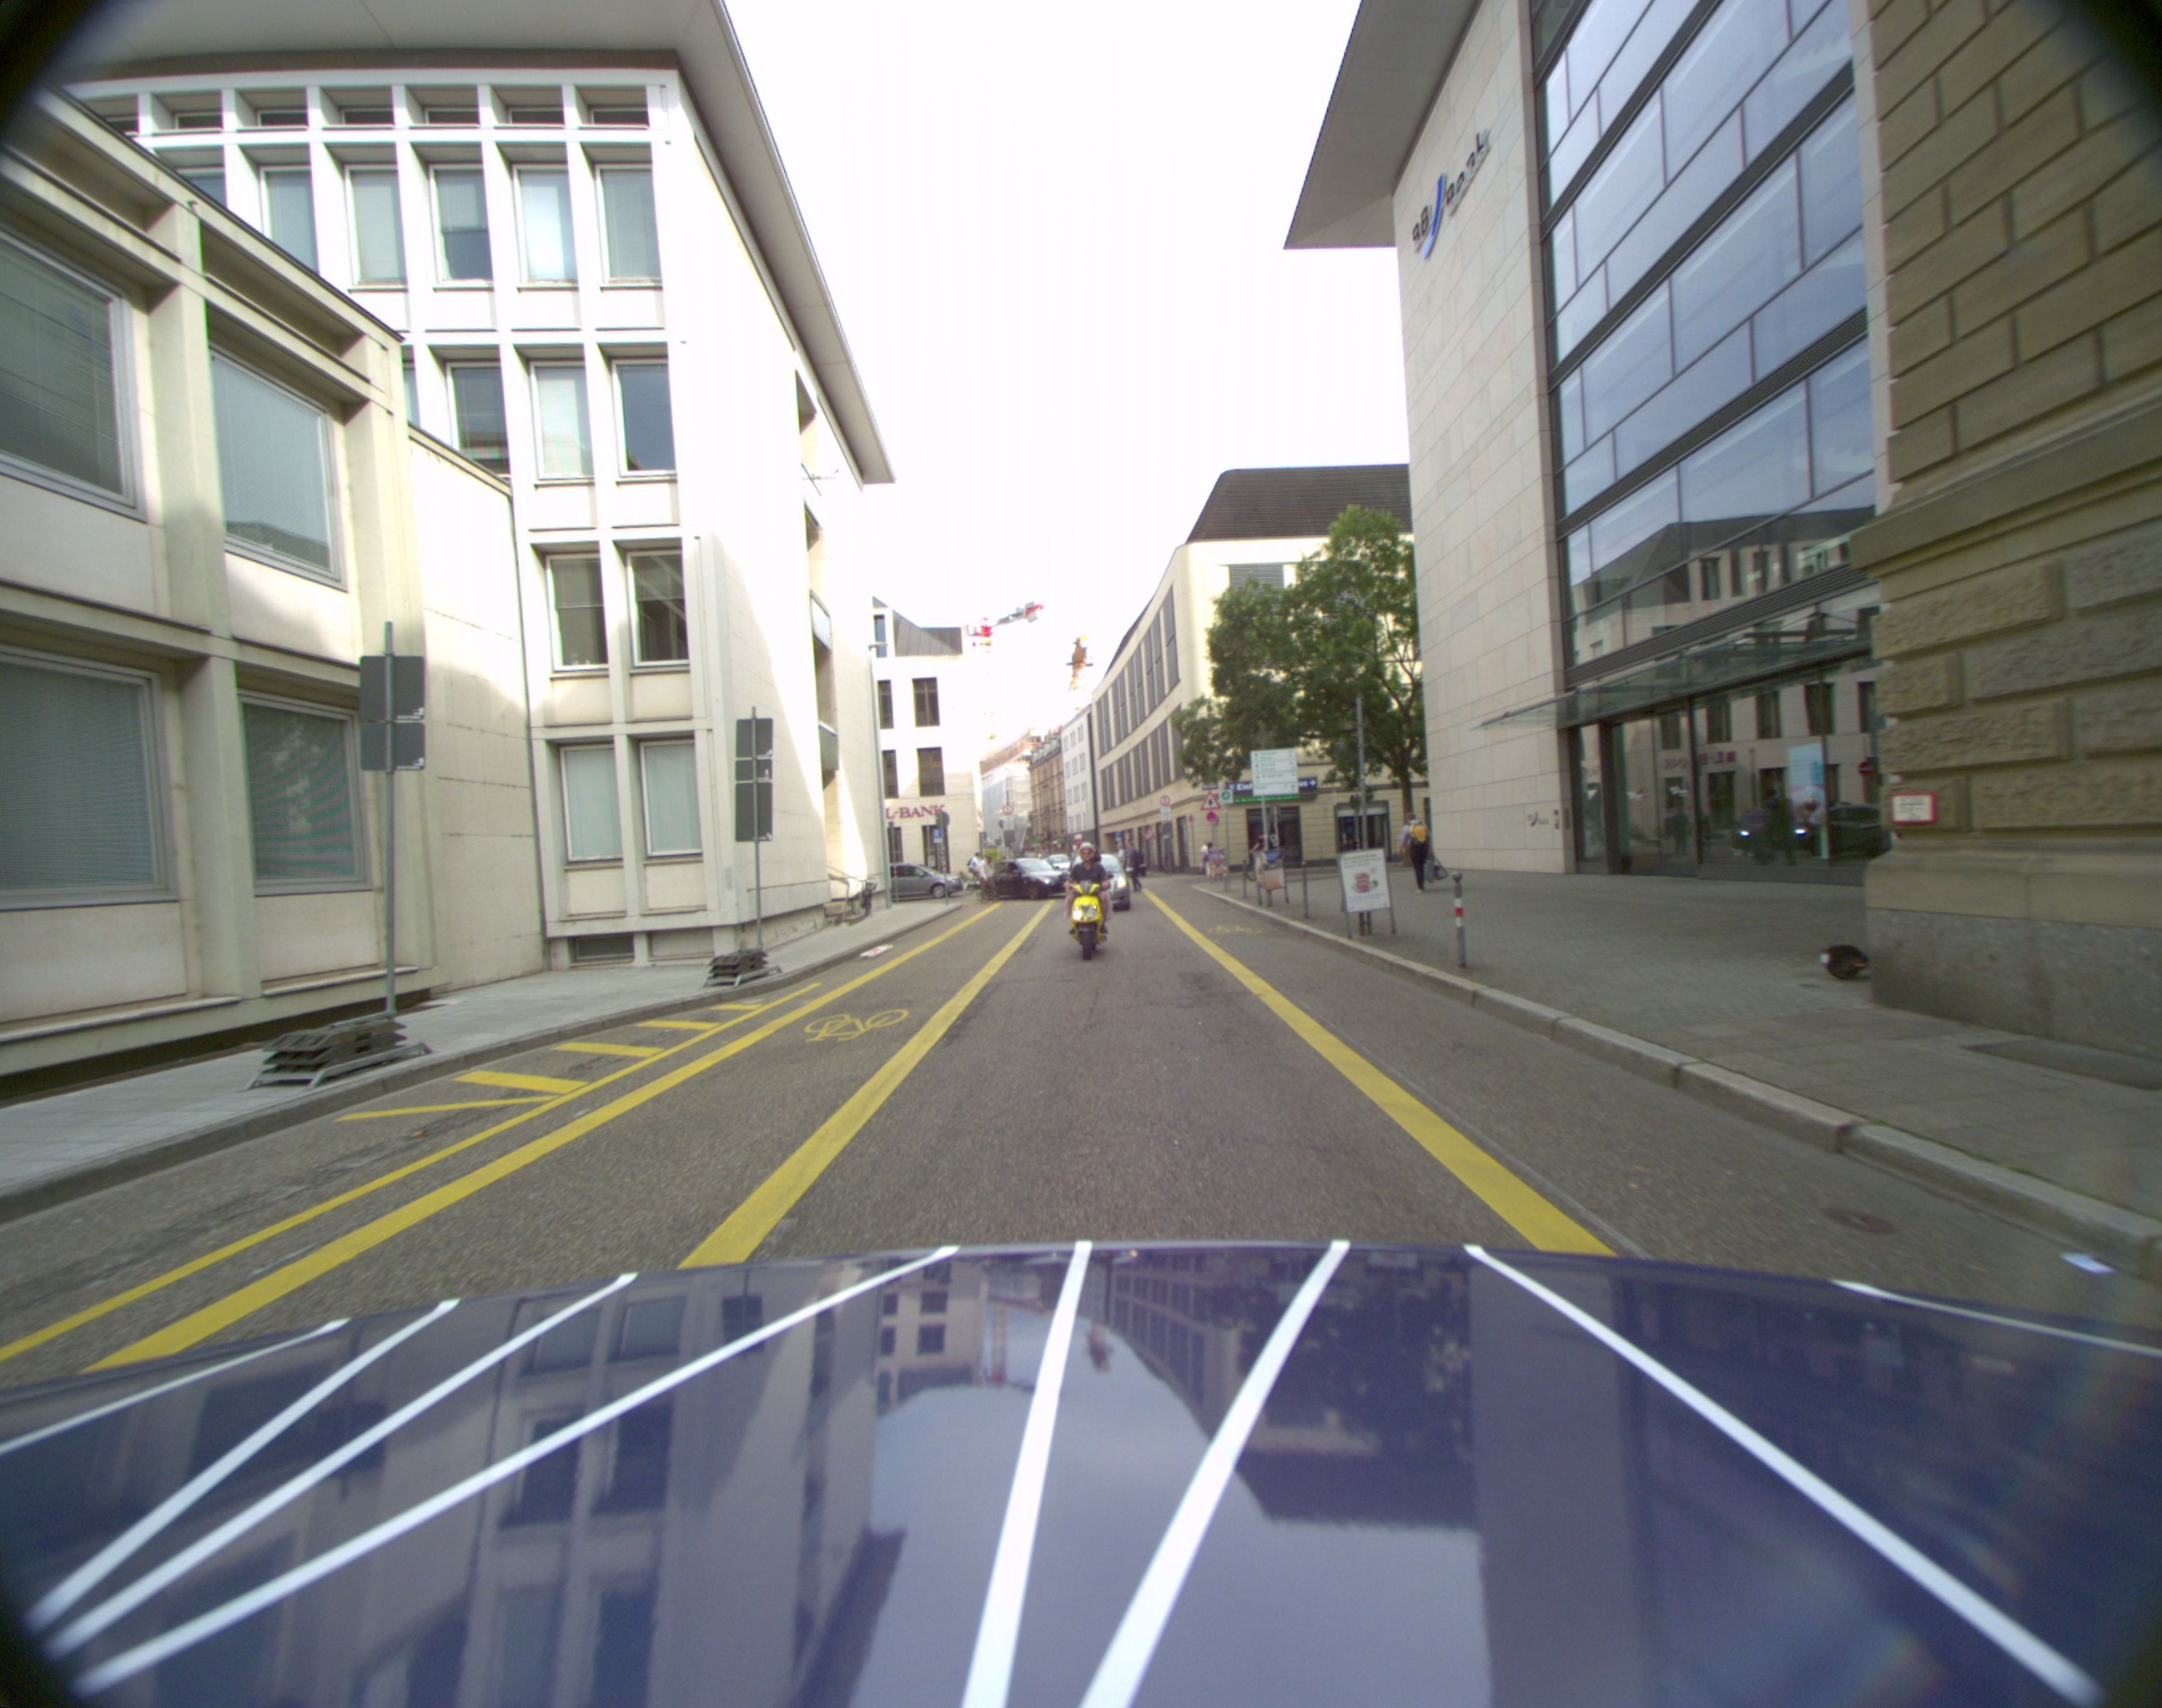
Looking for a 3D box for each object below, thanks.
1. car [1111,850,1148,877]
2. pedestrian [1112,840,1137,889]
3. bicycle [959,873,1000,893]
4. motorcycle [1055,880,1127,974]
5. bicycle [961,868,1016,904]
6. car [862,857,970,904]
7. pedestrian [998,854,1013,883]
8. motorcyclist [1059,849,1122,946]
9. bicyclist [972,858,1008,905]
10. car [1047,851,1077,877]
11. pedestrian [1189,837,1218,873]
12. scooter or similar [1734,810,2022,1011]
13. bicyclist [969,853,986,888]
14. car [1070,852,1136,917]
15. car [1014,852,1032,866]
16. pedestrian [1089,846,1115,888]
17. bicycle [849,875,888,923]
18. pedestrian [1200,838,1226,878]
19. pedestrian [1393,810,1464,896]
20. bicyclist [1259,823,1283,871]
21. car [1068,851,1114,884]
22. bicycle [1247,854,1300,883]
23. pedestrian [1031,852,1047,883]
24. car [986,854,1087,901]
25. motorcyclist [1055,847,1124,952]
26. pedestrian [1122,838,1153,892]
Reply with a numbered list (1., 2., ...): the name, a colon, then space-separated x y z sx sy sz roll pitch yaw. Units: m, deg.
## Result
1. car: 3.013 0.545 48.275 1.563 1.548 4.100 -4 1 -7
2. pedestrian: 1.603 0.383 28.026 0.644 1.755 0.653 -4 1 -11
3. bicycle: -4.683 1.339 35.064 1.769 0.792 0.663 -3 1 -2
4. motorcycle: 0.159 1.020 11.295 0.929 1.159 2.127 -2 0 1
5. bicycle: -3.348 1.116 27.217 0.872 1.188 2.857 -4 1 -29
6. car: -7.093 1.115 33.008 4.193 1.581 1.814 -5 1 -2
7. pedestrian: -4.791 0.918 48.370 0.861 1.820 0.773 -4 1 -6
8. motorcyclist: 0.153 0.653 11.787 0.903 1.445 0.742 -2 1 1
9. bicyclist: -3.245 0.953 27.007 0.894 1.585 0.875 -4 2 -30
10. car: -1.304 0.646 50.979 1.563 1.548 4.100 -4 1 -7
11. pedestrian: 6.541 0.045 40.551 1.058 1.755 0.894 -6 2 35
12. scooter or similar: 6.041 0.414 5.812 1.450 1.303 0.587 -7 0 0
13. bicyclist: -4.774 0.750 35.052 0.586 1.586 0.663 -3 1 -2
14. car: 0.640 0.759 20.999 1.562 1.482 3.784 -4 1 2
15. car: -6.559 0.578 85.626 1.590 1.477 3.996 -4 1 -11
16. pedestrian: 0.940 0.573 34.067 0.774 1.820 0.860 -4 1 -19
17. bicycle: -5.878 1.219 21.108 0.590 1.161 1.814 -3 1 -4
18. pedestrian: 6.085 0.177 35.059 0.879 1.699 0.910 -7 1 1
19. pedestrian: 7.524 -0.025 16.483 1.028 1.710 0.818 -6 1 1
20. bicyclist: 6.717 -0.245 26.836 0.643 1.610 0.623 -6 0 12
21. car: 0.484 0.660 39.871 1.710 1.482 4.100 -4 1 -8
22. bicycle: 6.800 0.505 26.901 1.722 0.829 0.602 -7 -1 10
23. pedestrian: -2.615 0.832 47.552 0.861 1.820 0.773 -3 1 -3
24. car: -1.666 0.841 27.443 1.720 1.482 3.755 -5 1 -38
25. motorcyclist: 0.134 0.642 11.244 0.924 1.445 1.065 -2 1 1
26. pedestrian: 2.004 0.390 27.022 0.745 1.804 0.756 -7 1 -11
